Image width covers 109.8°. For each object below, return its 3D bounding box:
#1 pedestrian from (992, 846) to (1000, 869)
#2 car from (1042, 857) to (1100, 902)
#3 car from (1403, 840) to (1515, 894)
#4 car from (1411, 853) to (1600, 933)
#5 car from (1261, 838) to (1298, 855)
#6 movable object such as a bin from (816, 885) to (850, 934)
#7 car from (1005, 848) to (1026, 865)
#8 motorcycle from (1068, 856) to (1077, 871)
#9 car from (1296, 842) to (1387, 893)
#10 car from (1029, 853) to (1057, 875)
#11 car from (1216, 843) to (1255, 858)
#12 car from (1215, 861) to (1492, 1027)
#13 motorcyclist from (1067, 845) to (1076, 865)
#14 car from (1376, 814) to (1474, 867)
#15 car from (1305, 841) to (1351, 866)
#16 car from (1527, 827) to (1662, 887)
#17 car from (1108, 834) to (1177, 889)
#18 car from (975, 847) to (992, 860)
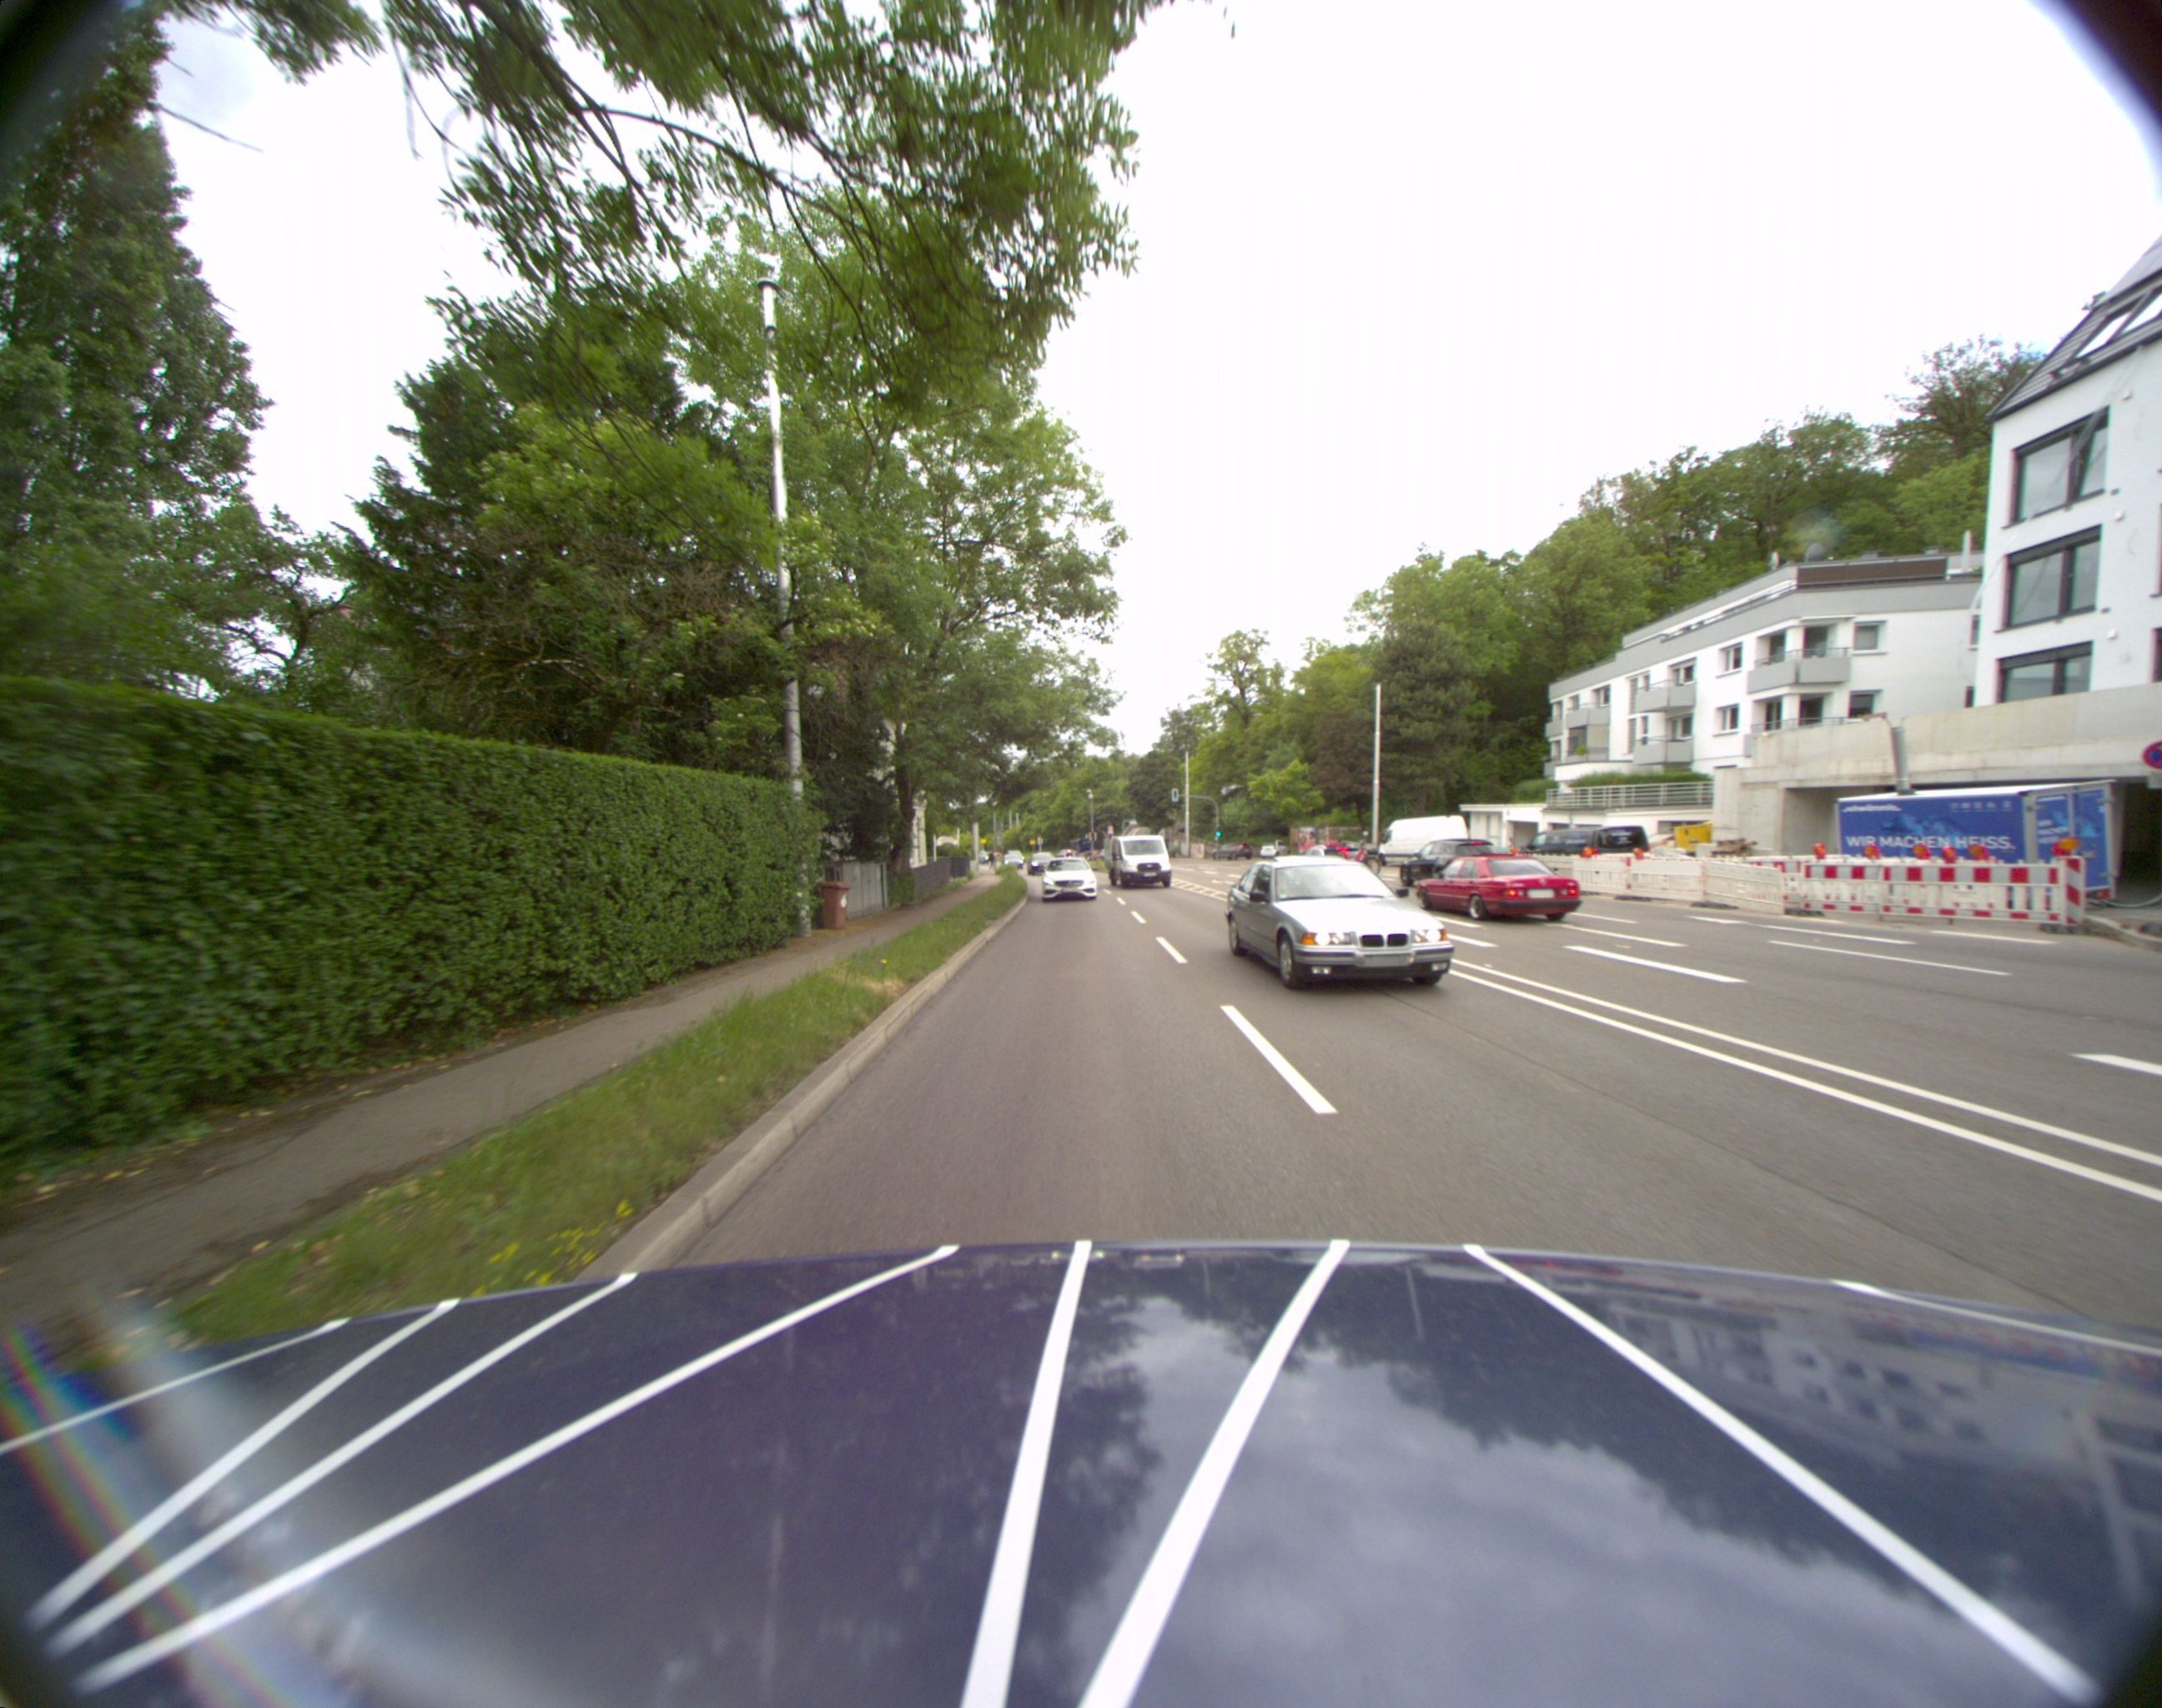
[{"bbox_3d":[-6.831,0.273,60.914,0.513,1.824,0.494,-1,1,-1],"label":"pedestrian"},{"bbox_3d":[-0.378,0.814,26.266,1.821,1.339,3.999,-1,1,-2],"label":"car"},{"bbox_3d":[12.303,0.369,25.045,1.779,1.588,4.226,-1,1,3],"label":"car"},{"bbox_3d":[8.714,0.715,16.081,1.752,1.373,4.322,-1,1,3],"label":"car"},{"bbox_3d":[17.906,-0.695,68.508,3.301,1.434,1.578,-2,1,-41],"label":"car"},{"bbox_3d":[-4.787,1.070,14.690,0.474,0.906,0.454,-1,1,0],"label":"movable object such as a bin"},{"bbox_3d":[-6.362,0.211,73.523,1.676,1.523,3.996,-2,1,-10],"label":"car"},{"bbox_3d":[-0.679,0.756,59.747,0.574,1.120,2.295,-3,1,-3],"label":"motorcycle"},{"bbox_3d":[9.039,0.403,26.778,1.779,1.588,4.664,-1,1,3],"label":"car"},{"bbox_3d":[-2.791,0.674,54.613,1.735,1.403,3.997,-1,1,-6],"label":"car"},{"bbox_3d":[13.683,-0.306,67.362,1.569,1.277,3.287,-2,1,-30],"label":"car"},{"bbox_3d":[2.911,0.844,9.266,1.639,1.375,4.618,-1,1,-1],"label":"car"},{"bbox_3d":[-0.758,0.073,59.928,0.619,1.463,0.930,-3,1,-3],"label":"motorcyclist"},{"bbox_3d":[18.158,-0.711,40.544,1.999,2.512,6.531,-2,1,-2],"label":"car"},{"bbox_3d":[15.311,-0.049,47.216,1.582,1.434,3.293,-1,1,-5],"label":"car"},{"bbox_3d":[16.880,0.059,25.260,1.810,1.741,4.251,-2,1,4],"label":"car"},{"bbox_3d":[2.562,0.278,33.208,1.999,2.161,6.265,-1,0,-5],"label":"car"},{"bbox_3d":[-12.956,-0.048,100.823,2.000,1.647,4.431,-2,1,-11],"label":"car"}]
